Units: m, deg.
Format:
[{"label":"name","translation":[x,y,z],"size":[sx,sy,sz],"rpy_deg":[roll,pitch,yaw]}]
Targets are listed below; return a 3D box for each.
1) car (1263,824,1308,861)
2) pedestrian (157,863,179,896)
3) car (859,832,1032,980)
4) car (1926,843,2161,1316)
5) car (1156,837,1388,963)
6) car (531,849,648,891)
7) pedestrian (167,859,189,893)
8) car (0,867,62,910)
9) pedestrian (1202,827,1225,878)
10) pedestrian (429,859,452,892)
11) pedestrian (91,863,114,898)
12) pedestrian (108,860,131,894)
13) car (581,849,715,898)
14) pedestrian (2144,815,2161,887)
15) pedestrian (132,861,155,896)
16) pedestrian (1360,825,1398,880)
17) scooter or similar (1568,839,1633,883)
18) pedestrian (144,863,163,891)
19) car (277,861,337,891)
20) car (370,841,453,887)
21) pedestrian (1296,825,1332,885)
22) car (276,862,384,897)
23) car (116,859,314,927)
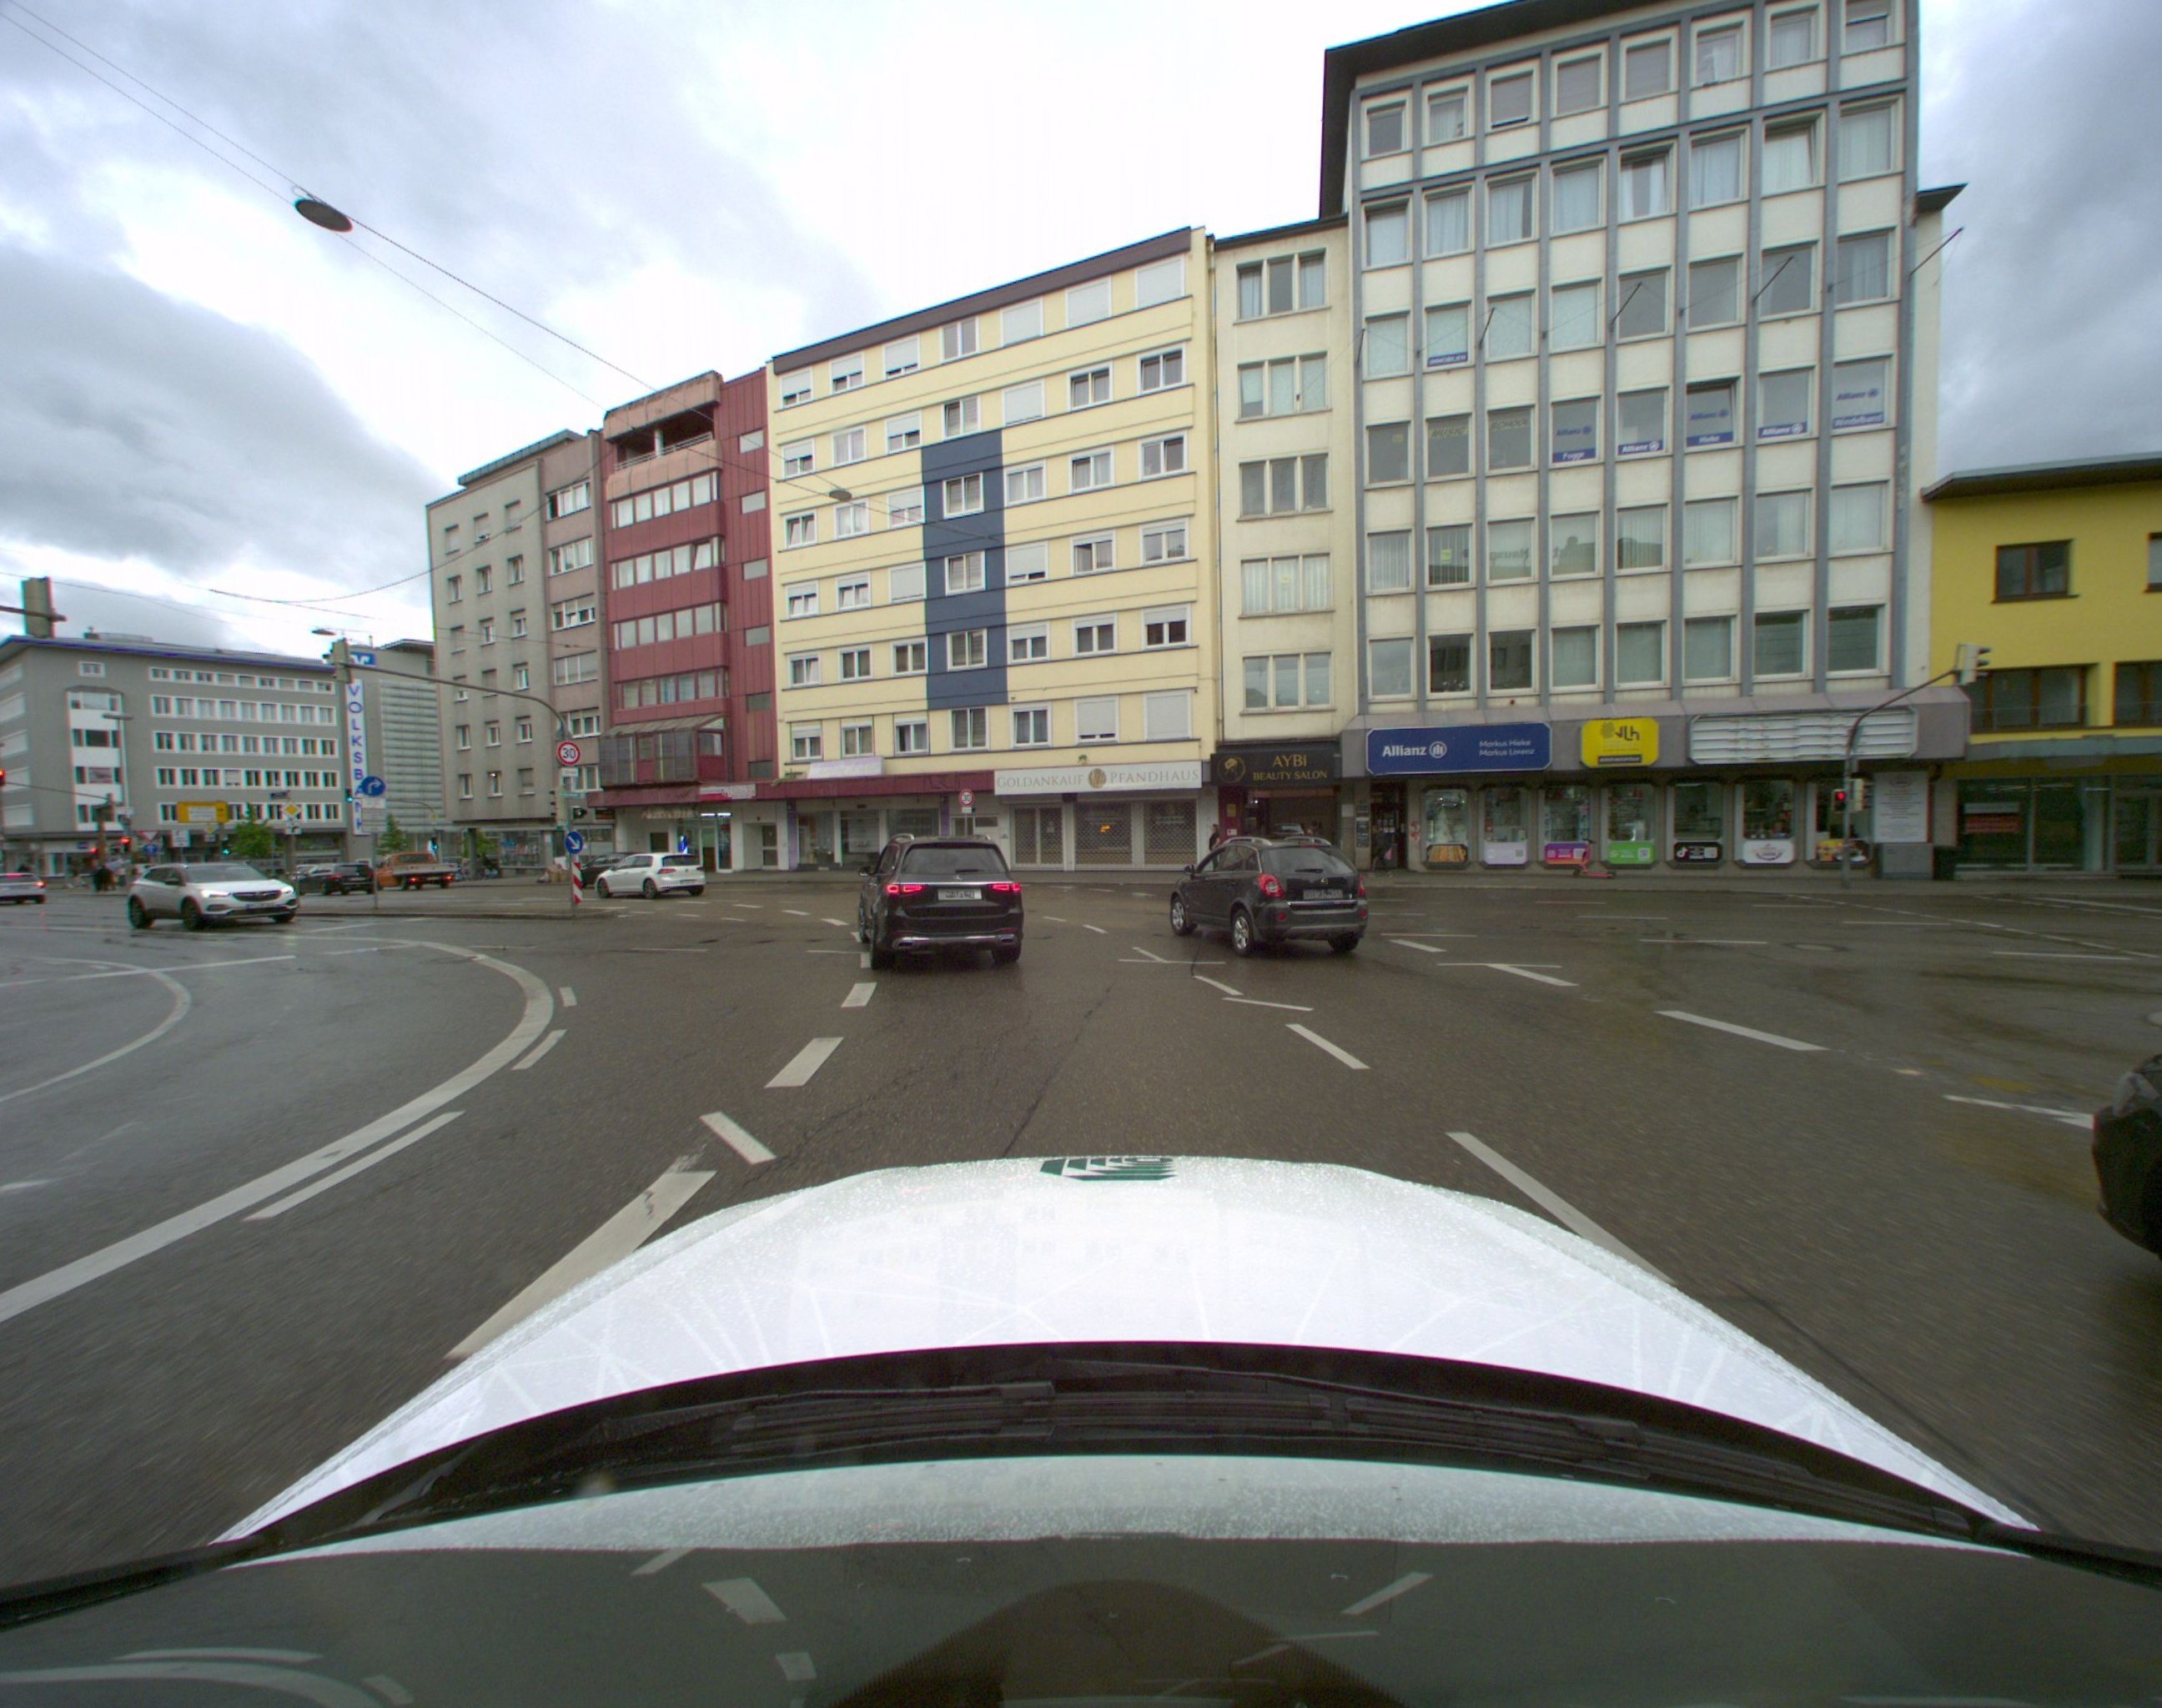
[{"label":"car","translation":[9.724,-0.504,38.939],"size":[1.786,1.670,4.012],"rpy_deg":[-1,-1,11]},{"label":"pedestrian","translation":[-56.125,1.575,50.070],"size":[0.844,2.014,0.819],"rpy_deg":[-2,-1,37]},{"label":"car","translation":[-2.284,0.589,12.483],"size":[2.043,1.798,4.636],"rpy_deg":[-1,1,-17]},{"label":"car","translation":[4.130,0.674,1.234],"size":[1.681,1.477,4.003],"rpy_deg":[-1,-1,3]},{"label":"car","translation":[2.868,0.617,13.407],"size":[1.900,1.695,4.484],"rpy_deg":[0,0,-14]},{"label":"car","translation":[-20.376,0.649,33.765],"size":[4.441,1.659,1.839],"rpy_deg":[0,-2,23]},{"label":"pedestrian","translation":[-54.294,1.329,48.977],"size":[0.844,2.014,0.819],"rpy_deg":[-2,-1,37]},{"label":"car","translation":[-49.759,1.541,37.729],"size":[4.678,1.789,2.011],"rpy_deg":[1,0,24]},{"label":"pedestrian","translation":[4.538,-0.067,27.924],"size":[0.748,1.688,0.567],"rpy_deg":[-1,5,9]},{"label":"pedestrian","translation":[-40.361,1.352,51.321],"size":[0.809,2.014,0.854],"rpy_deg":[-1,-1,-1]},{"label":"pedestrian","translation":[-57.190,1.564,47.586],"size":[0.844,2.014,0.819],"rpy_deg":[-2,-1,37]},{"label":"pedestrian","translation":[-58.143,1.392,49.246],"size":[0.844,2.014,0.819],"rpy_deg":[-2,-1,37]},{"label":"car","translation":[-14.335,0.585,26.942],"size":[4.344,1.494,1.891],"rpy_deg":[0,0,30]},{"label":"pedestrian","translation":[28.110,-0.069,20.934],"size":[0.890,1.827,0.676],"rpy_deg":[4,-3,-15]},{"label":"pedestrian","translation":[-55.807,1.459,48.476],"size":[0.844,2.014,0.819],"rpy_deg":[-2,-1,37]},{"label":"pedestrian","translation":[9.473,-0.055,25.946],"size":[1.023,1.688,0.833],"rpy_deg":[-1,5,10]},{"label":"scooter or similar","translation":[15.642,0.192,24.554],"size":[1.500,1.210,0.624],"rpy_deg":[2,5,18]},{"label":"pedestrian","translation":[-67.171,1.672,58.991],"size":[0.844,2.014,0.819],"rpy_deg":[-2,-1,37]},{"label":"car","translation":[-42.242,1.171,44.419],"size":[4.603,1.515,1.942],"rpy_deg":[0,-3,42]},{"label":"car","translation":[-34.785,0.504,42.261],"size":[5.358,2.228,2.264],"rpy_deg":[0,-2,39]},{"label":"pedestrian","translation":[7.251,0.030,25.385],"size":[1.023,1.798,0.833],"rpy_deg":[-1,5,10]},{"label":"car","translation":[-33.663,1.155,36.503],"size":[4.185,1.486,2.011],"rpy_deg":[-2,-1,23]},{"label":"car","translation":[-22.537,0.989,21.188],"size":[4.678,1.556,2.011],"rpy_deg":[-1,1,23]}]
